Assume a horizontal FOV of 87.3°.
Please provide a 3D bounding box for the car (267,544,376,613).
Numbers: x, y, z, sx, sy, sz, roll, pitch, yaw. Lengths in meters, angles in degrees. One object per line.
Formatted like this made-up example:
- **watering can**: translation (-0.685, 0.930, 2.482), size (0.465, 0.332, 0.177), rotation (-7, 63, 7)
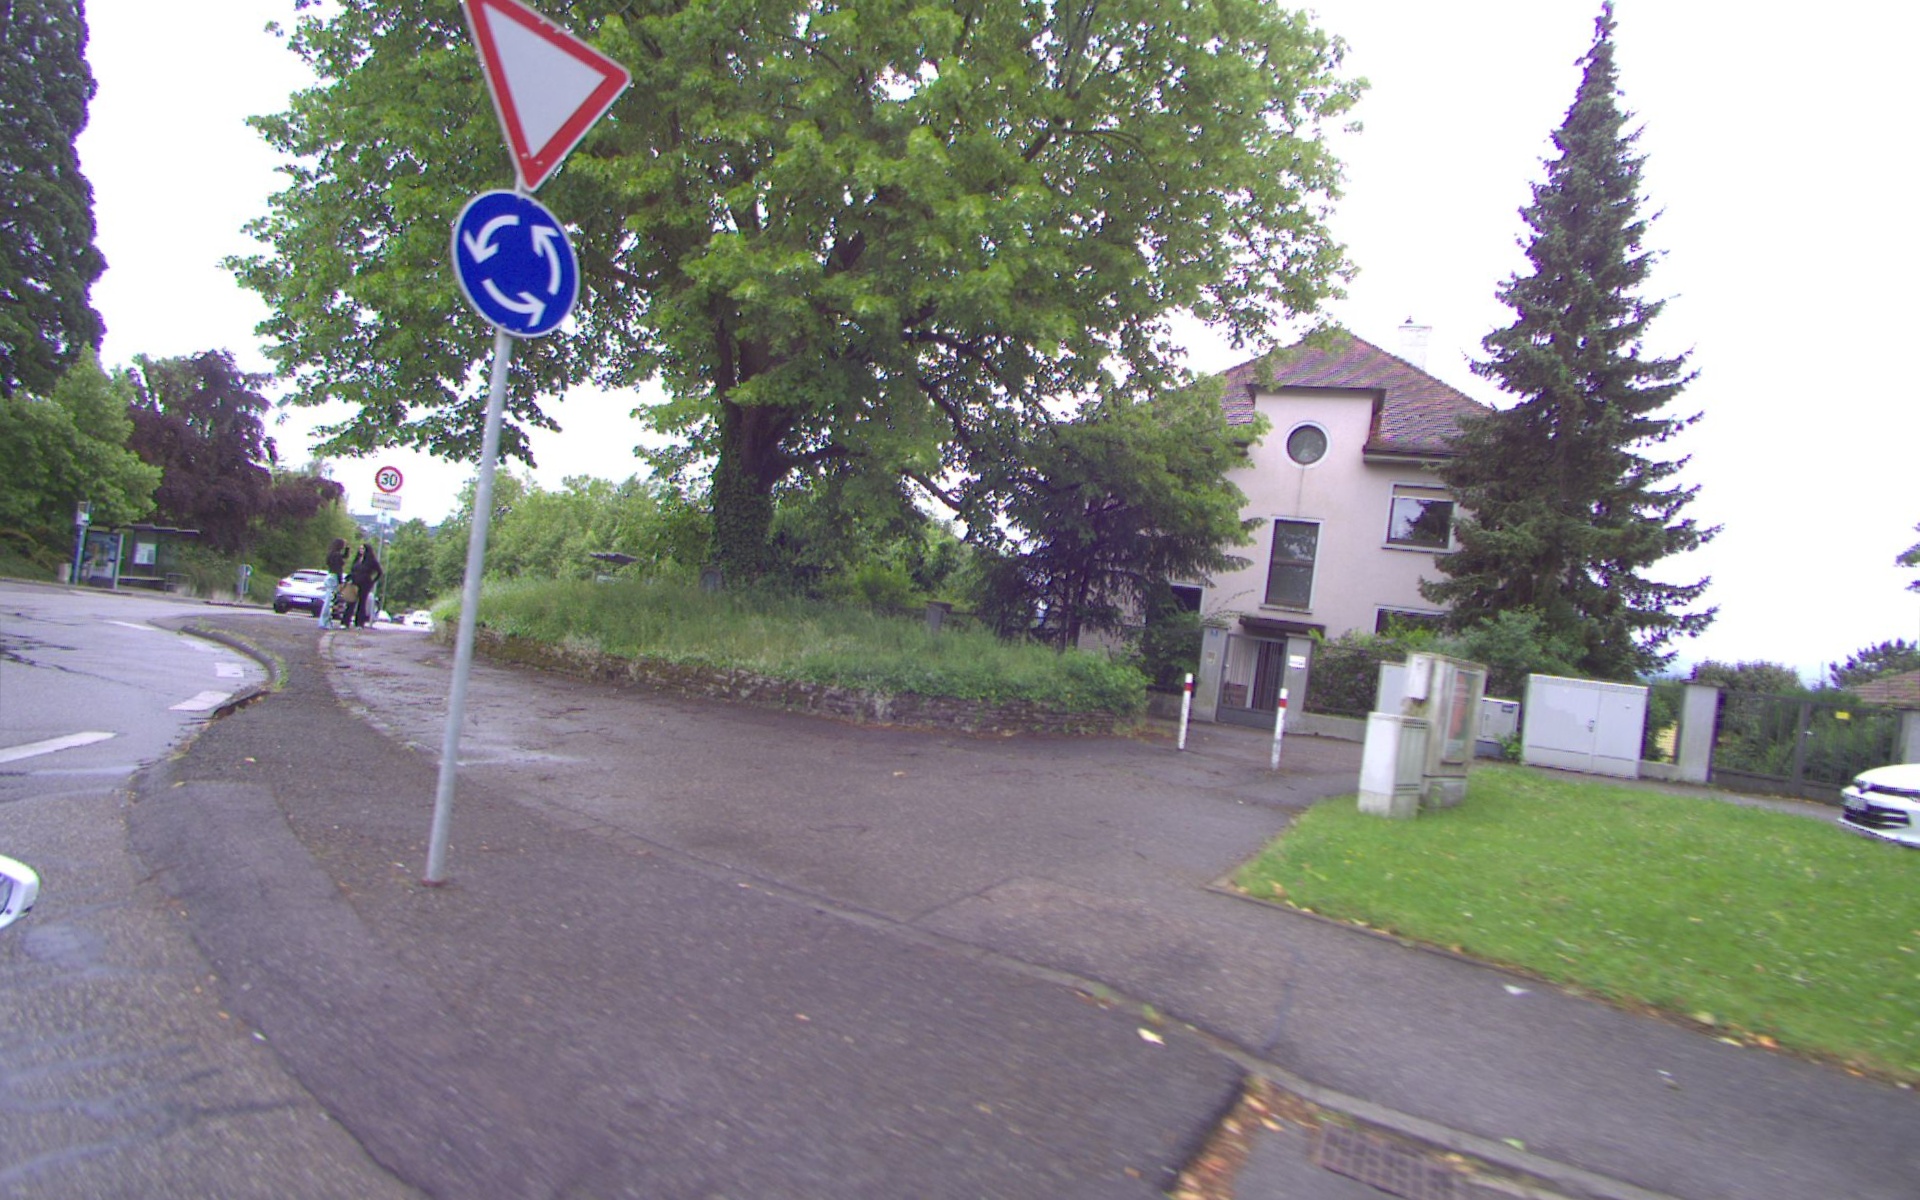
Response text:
- **car**: translation (-19.943, -0.649, 31.621), size (1.744, 1.823, 4.230), rotation (6, -1, -18)

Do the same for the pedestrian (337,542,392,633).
- **pedestrian**: translation (-12.007, -0.258, 20.282), size (0.523, 1.732, 0.633), rotation (5, -3, 43)

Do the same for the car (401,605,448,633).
- **car**: translation (-34.342, 1.227, 64.607), size (1.889, 1.406, 4.503), rotation (9, -6, -20)

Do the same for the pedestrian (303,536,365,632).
- **pedestrian**: translation (-12.023, -0.297, 19.338), size (0.624, 1.732, 0.530), rotation (6, -2, 12)

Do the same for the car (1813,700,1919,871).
- **car**: translation (11.018, 1.983, 9.272), size (4.346, 1.489, 1.850), rotation (6, 0, 24)
